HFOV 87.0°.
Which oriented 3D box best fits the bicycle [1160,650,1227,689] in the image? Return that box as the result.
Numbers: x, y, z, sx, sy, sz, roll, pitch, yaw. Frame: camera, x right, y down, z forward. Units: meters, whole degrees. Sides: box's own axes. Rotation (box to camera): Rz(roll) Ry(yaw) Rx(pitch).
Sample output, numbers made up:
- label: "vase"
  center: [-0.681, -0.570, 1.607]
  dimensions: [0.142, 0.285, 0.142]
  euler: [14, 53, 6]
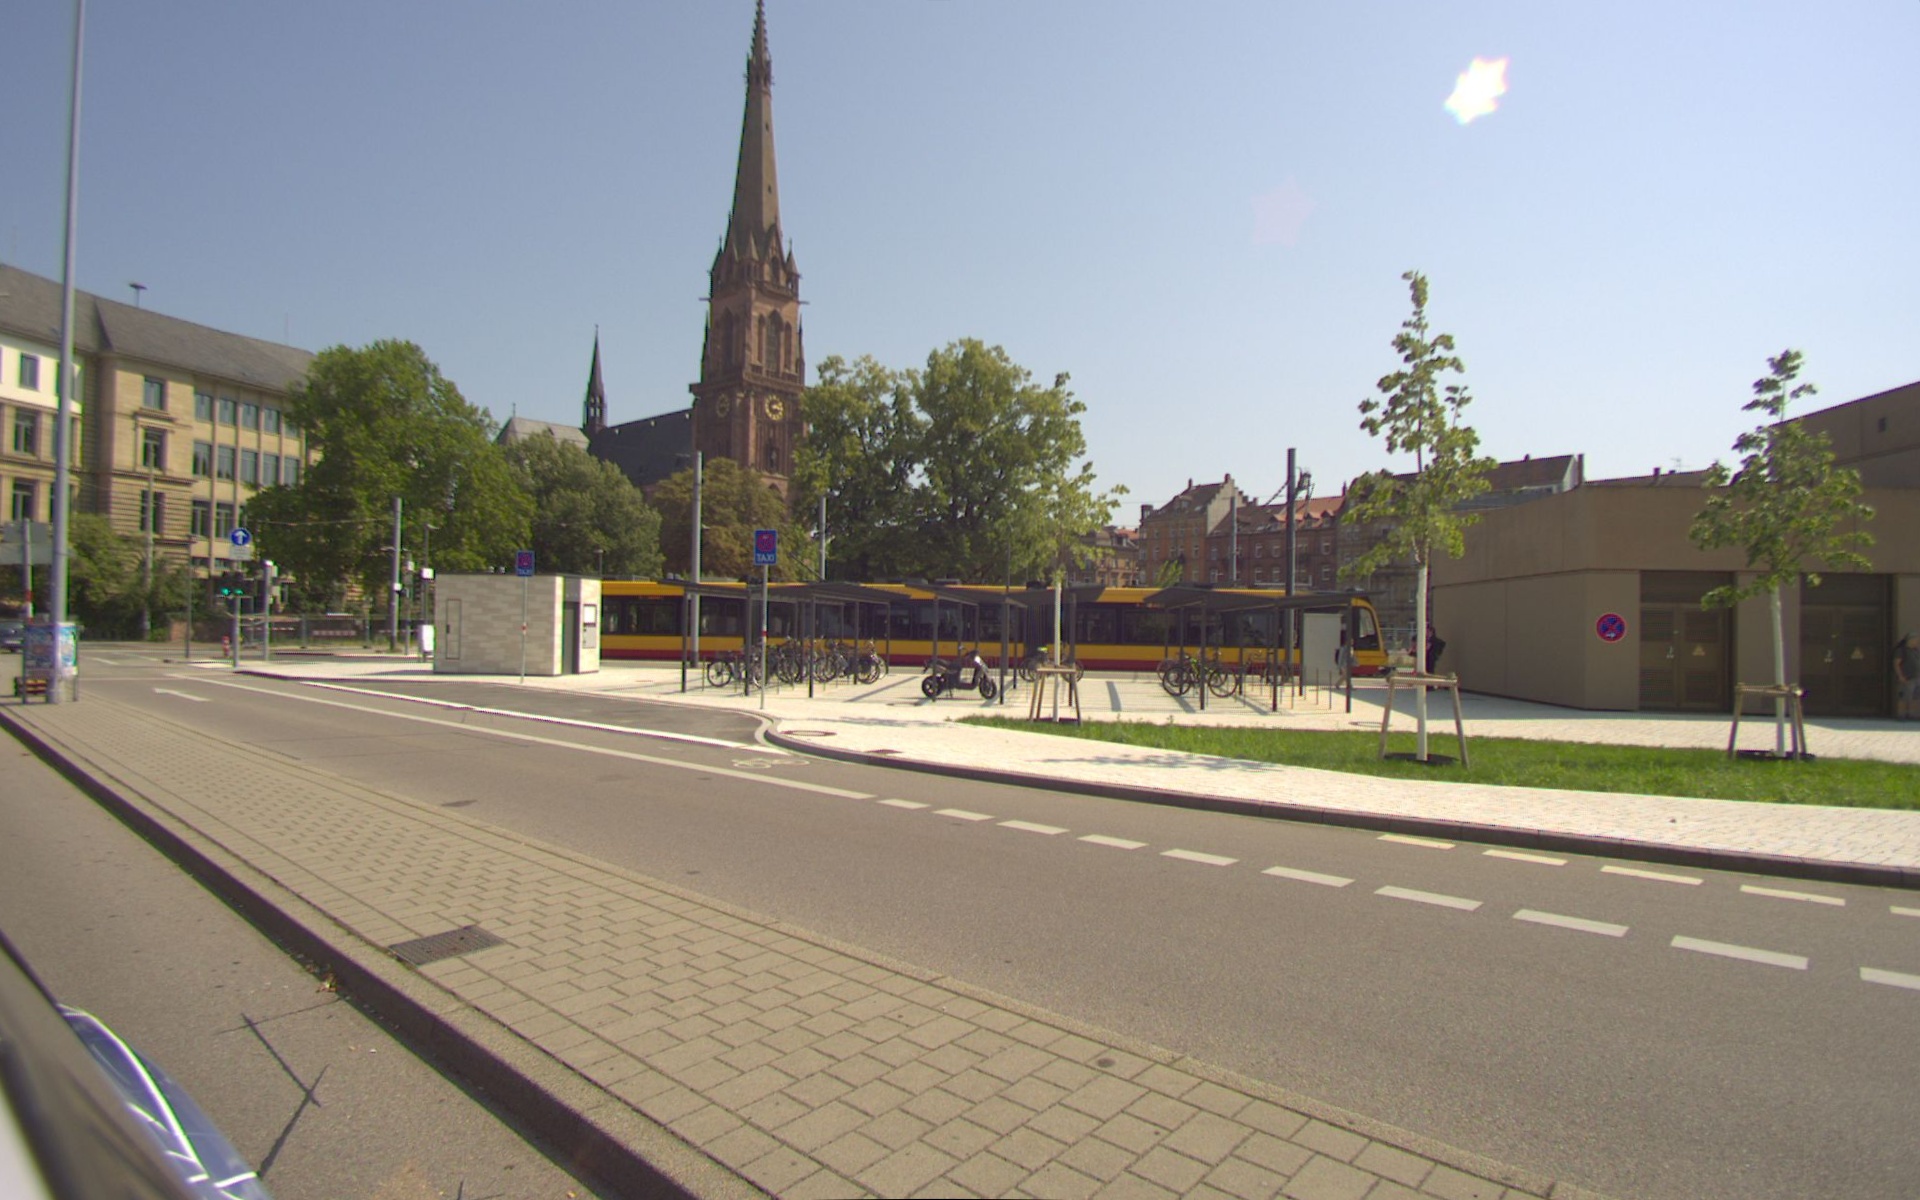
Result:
- label: "bicycle"
  center: [6.410, 1.899, 27.793]
  dimensions: [1.708, 1.048, 0.514]
  euler: [1, -2, -5]

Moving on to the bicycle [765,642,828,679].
- label: "bicycle"
  center: [-4.811, 1.760, 29.772]
  dimensions: [1.750, 1.048, 0.525]
  euler: [0, -2, 10]

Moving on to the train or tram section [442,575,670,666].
- label: "train or tram section"
  center: [-16.546, 0.891, 41.788]
  dimensions: [8.228, 3.588, 3.131]
  euler: [0, -3, 7]

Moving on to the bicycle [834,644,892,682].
- label: "bicycle"
  center: [-2.823, 1.817, 29.396]
  dimensions: [1.622, 1.048, 0.411]
  euler: [0, -2, 10]

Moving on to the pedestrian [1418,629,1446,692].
- label: "pedestrian"
  center: [12.849, 1.652, 27.574]
  dimensions: [0.562, 1.691, 0.443]
  euler: [0, -2, 7]

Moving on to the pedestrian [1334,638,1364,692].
- label: "pedestrian"
  center: [10.495, 1.736, 27.308]
  dimensions: [0.667, 1.421, 0.438]
  euler: [-1, -2, 41]

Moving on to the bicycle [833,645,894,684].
- label: "bicycle"
  center: [-2.652, 1.769, 27.932]
  dimensions: [1.622, 1.048, 0.411]
  euler: [0, -2, 10]

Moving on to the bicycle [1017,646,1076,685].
- label: "bicycle"
  center: [2.459, 1.849, 28.645]
  dimensions: [1.622, 1.048, 0.411]
  euler: [0, -2, 10]

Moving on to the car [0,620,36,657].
- label: "car"
  center: [-40.513, 1.627, 42.912]
  dimensions: [3.585, 1.509, 1.563]
  euler: [-1, -4, 43]

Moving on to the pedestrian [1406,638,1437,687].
- label: "pedestrian"
  center: [13.584, 1.826, 29.823]
  dimensions: [0.737, 1.421, 0.442]
  euler: [0, -2, 11]

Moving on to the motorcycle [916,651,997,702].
- label: "motorcycle"
  center: [-0.083, 1.717, 22.827]
  dimensions: [1.760, 1.077, 0.490]
  euler: [0, -2, 10]

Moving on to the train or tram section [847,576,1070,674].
- label: "train or tram section"
  center: [0.060, 1.005, 39.593]
  dimensions: [8.424, 3.625, 3.154]
  euler: [0, -3, 7]

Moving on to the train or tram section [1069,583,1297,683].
- label: "train or tram section"
  center: [8.249, 1.274, 38.502]
  dimensions: [8.147, 3.625, 3.154]
  euler: [0, -3, 7]

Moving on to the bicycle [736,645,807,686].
- label: "bicycle"
  center: [-4.966, 1.716, 26.706]
  dimensions: [1.750, 1.048, 0.525]
  euler: [0, -2, 10]

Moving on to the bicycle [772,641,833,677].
- label: "bicycle"
  center: [-4.794, 1.796, 30.851]
  dimensions: [1.750, 1.048, 0.525]
  euler: [0, -2, 10]

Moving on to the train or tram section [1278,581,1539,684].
- label: "train or tram section"
  center: [16.310, 1.243, 37.462]
  dimensions: [8.145, 3.597, 3.138]
  euler: [0, -3, 7]

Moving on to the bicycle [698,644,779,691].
- label: "bicycle"
  center: [-5.400, 1.633, 24.681]
  dimensions: [1.844, 1.090, 0.525]
  euler: [0, -2, 10]

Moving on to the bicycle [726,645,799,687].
- label: "bicycle"
  center: [-5.075, 1.687, 26.012]
  dimensions: [1.750, 1.048, 0.525]
  euler: [0, -2, 10]

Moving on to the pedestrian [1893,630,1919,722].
- label: "pedestrian"
  center: [18.111, 1.423, 19.063]
  dimensions: [0.529, 1.691, 0.568]
  euler: [0, -2, 6]

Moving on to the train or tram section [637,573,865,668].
- label: "train or tram section"
  center: [-8.281, 0.885, 40.705]
  dimensions: [8.424, 3.625, 3.154]
  euler: [0, -3, 7]

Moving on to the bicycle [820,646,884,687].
- label: "bicycle"
  center: [-2.862, 1.750, 26.837]
  dimensions: [1.622, 1.048, 0.411]
  euler: [0, -2, 10]

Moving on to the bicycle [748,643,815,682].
- label: "bicycle"
  center: [-4.993, 1.734, 28.323]
  dimensions: [1.750, 1.048, 0.525]
  euler: [0, -2, 10]

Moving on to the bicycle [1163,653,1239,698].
- label: "bicycle"
  center: [5.827, 1.830, 24.522]
  dimensions: [1.711, 1.048, 0.513]
  euler: [1, -2, 1]

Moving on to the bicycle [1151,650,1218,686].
- label: "bicycle"
  center: [6.535, 1.976, 29.478]
  dimensions: [1.834, 0.993, 0.512]
  euler: [1, -2, 6]
